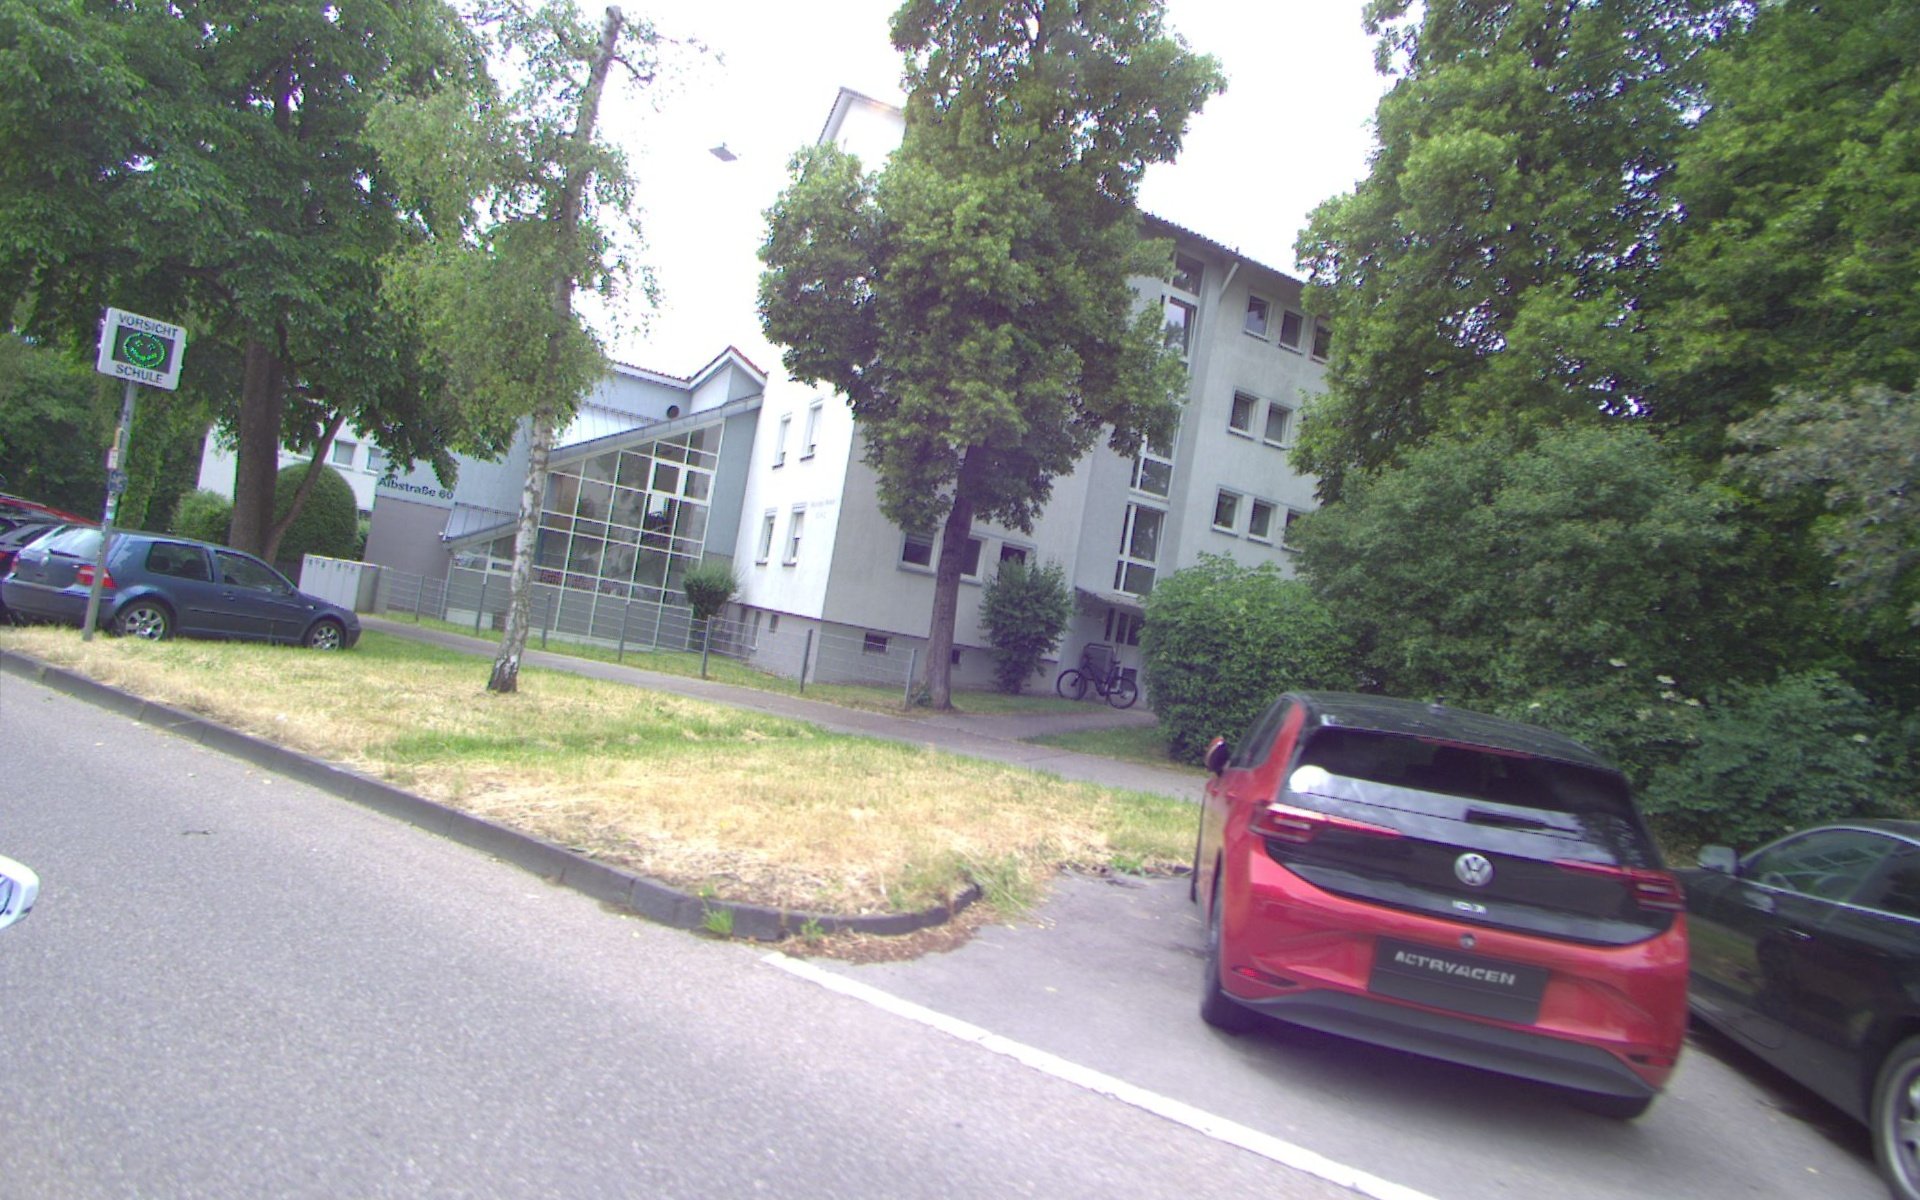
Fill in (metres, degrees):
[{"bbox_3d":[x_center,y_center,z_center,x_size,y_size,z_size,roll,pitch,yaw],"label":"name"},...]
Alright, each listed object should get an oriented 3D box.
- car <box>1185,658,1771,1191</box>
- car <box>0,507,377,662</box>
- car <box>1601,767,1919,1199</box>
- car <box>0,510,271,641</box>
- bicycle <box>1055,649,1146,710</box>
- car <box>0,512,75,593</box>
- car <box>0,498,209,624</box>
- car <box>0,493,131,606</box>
[{"bbox_3d":[2.216,1.250,5.527,1.700,1.532,4.092,8,-3,13],"label":"car"},{"bbox_3d":[-10.276,-0.094,13.529,1.723,1.420,3.986,8,-4,17],"label":"car"},{"bbox_3d":[4.446,1.650,4.277,1.701,1.355,4.334,7,-4,18],"label":"car"},{"bbox_3d":[-12.442,-0.360,14.367,1.723,1.420,4.050,8,-4,14],"label":"car"},{"bbox_3d":[3.258,1.840,23.371,1.894,1.089,0.540,9,-3,25],"label":"bicycle"},{"bbox_3d":[-20.017,-1.197,19.332,1.882,1.464,3.988,7,-4,16],"label":"car"},{"bbox_3d":[-14.897,-0.705,16.220,1.849,1.637,4.018,8,-4,16],"label":"car"},{"bbox_3d":[-17.351,-1.041,17.663,1.753,1.773,4.107,8,-4,5],"label":"car"}]
